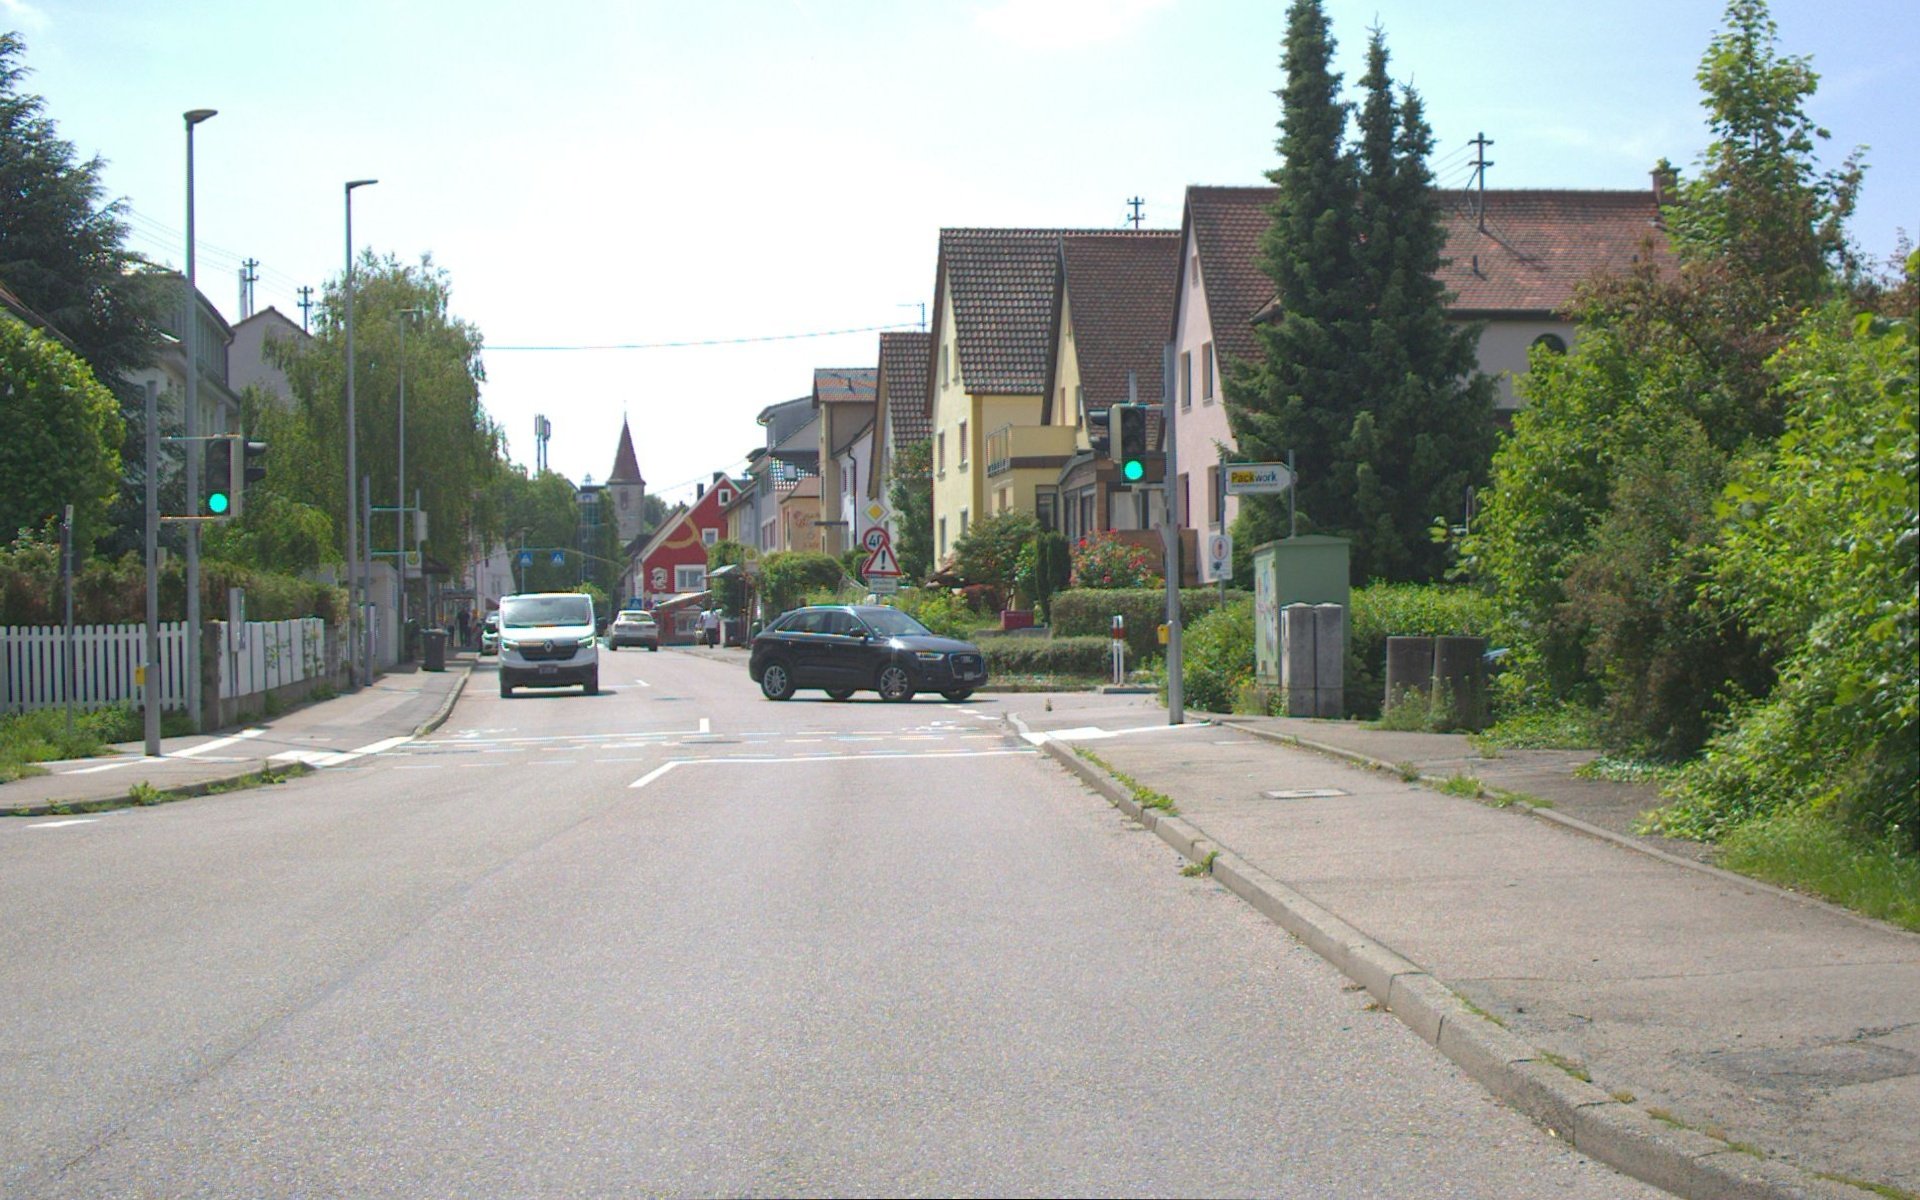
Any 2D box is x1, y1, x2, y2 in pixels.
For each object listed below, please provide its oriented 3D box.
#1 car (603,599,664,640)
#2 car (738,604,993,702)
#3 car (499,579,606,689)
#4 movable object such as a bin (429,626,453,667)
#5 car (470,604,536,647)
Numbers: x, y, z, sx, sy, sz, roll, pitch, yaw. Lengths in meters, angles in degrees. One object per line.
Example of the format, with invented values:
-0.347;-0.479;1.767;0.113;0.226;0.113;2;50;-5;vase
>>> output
-12.969;0.759;136.458;1.993;1.555;4.315;-1;0;-11;car
-1.606;0.858;57.181;4.300;1.536;1.536;0;1;40;car
-7.886;0.664;66.246;1.879;1.958;4.903;-3;0;-8;car
-13.453;1.202;89.119;0.607;1.042;0.725;0;1;-7;movable object such as a bin
-17.349;0.941;130.671;2.110;1.555;4.314;-1;0;-3;car
